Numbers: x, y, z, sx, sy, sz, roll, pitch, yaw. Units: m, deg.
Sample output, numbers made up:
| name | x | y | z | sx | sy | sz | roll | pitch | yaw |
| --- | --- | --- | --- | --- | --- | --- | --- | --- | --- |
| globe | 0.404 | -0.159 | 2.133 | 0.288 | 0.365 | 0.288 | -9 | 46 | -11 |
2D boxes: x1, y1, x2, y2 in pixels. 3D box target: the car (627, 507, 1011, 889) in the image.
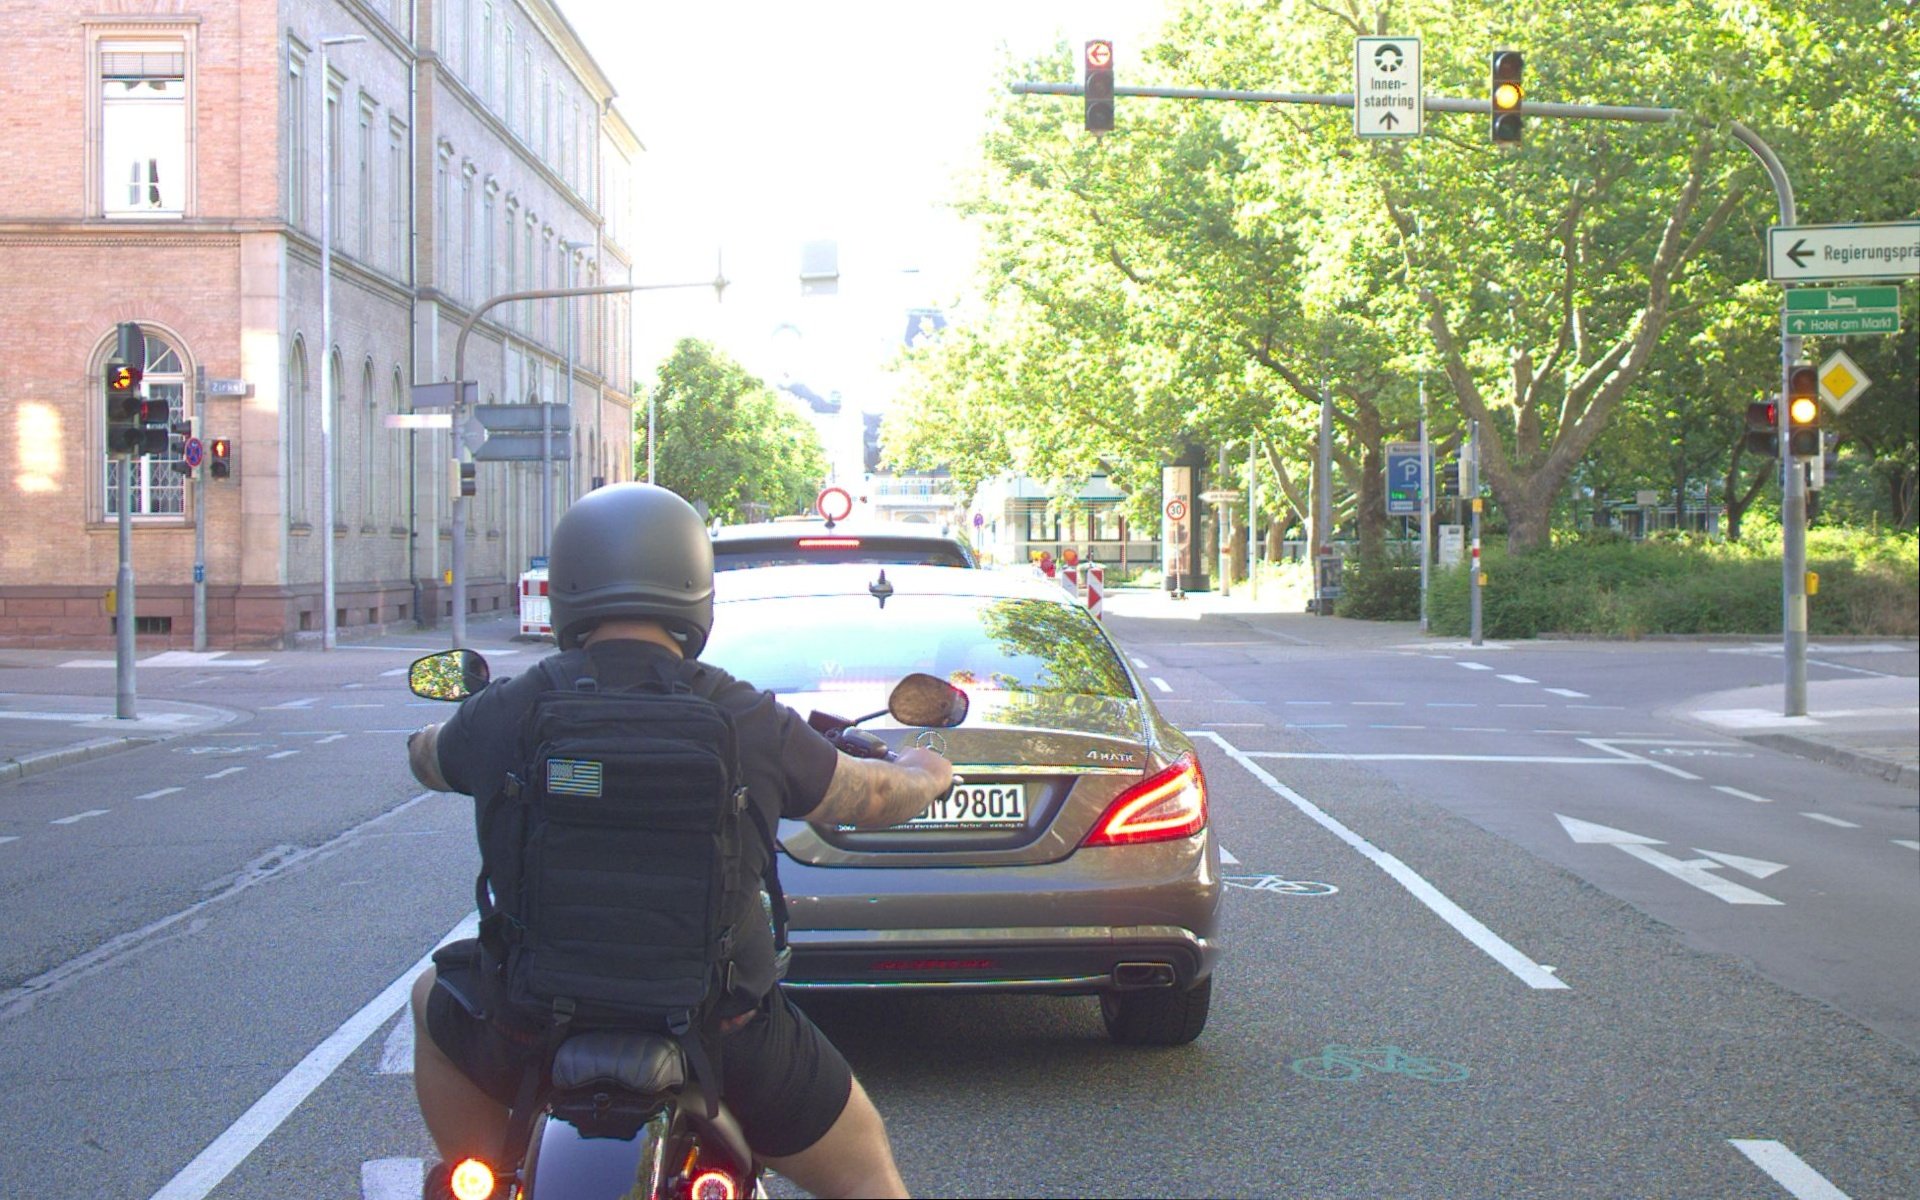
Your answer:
| name | x | y | z | sx | sy | sz | roll | pitch | yaw |
| --- | --- | --- | --- | --- | --- | --- | --- | --- | --- |
| car | -0.633 | 0.407 | 16.982 | 1.651 | 1.646 | 4.000 | 1 | 1 | -1 |

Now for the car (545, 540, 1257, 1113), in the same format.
| name | x | y | z | sx | sy | sz | roll | pitch | yaw |
| --- | --- | --- | --- | --- | --- | --- | --- | --- | --- |
| car | -0.402 | 0.571 | 11.136 | 1.824 | 1.481 | 4.334 | 1 | 1 | -7 |

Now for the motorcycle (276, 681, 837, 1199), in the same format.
| name | x | y | z | sx | sy | sz | roll | pitch | yaw |
| --- | --- | --- | --- | --- | --- | --- | --- | --- | --- |
| motorcycle | -0.557 | 0.785 | 5.430 | 0.660 | 1.236 | 2.058 | 1 | 1 | -1 |
